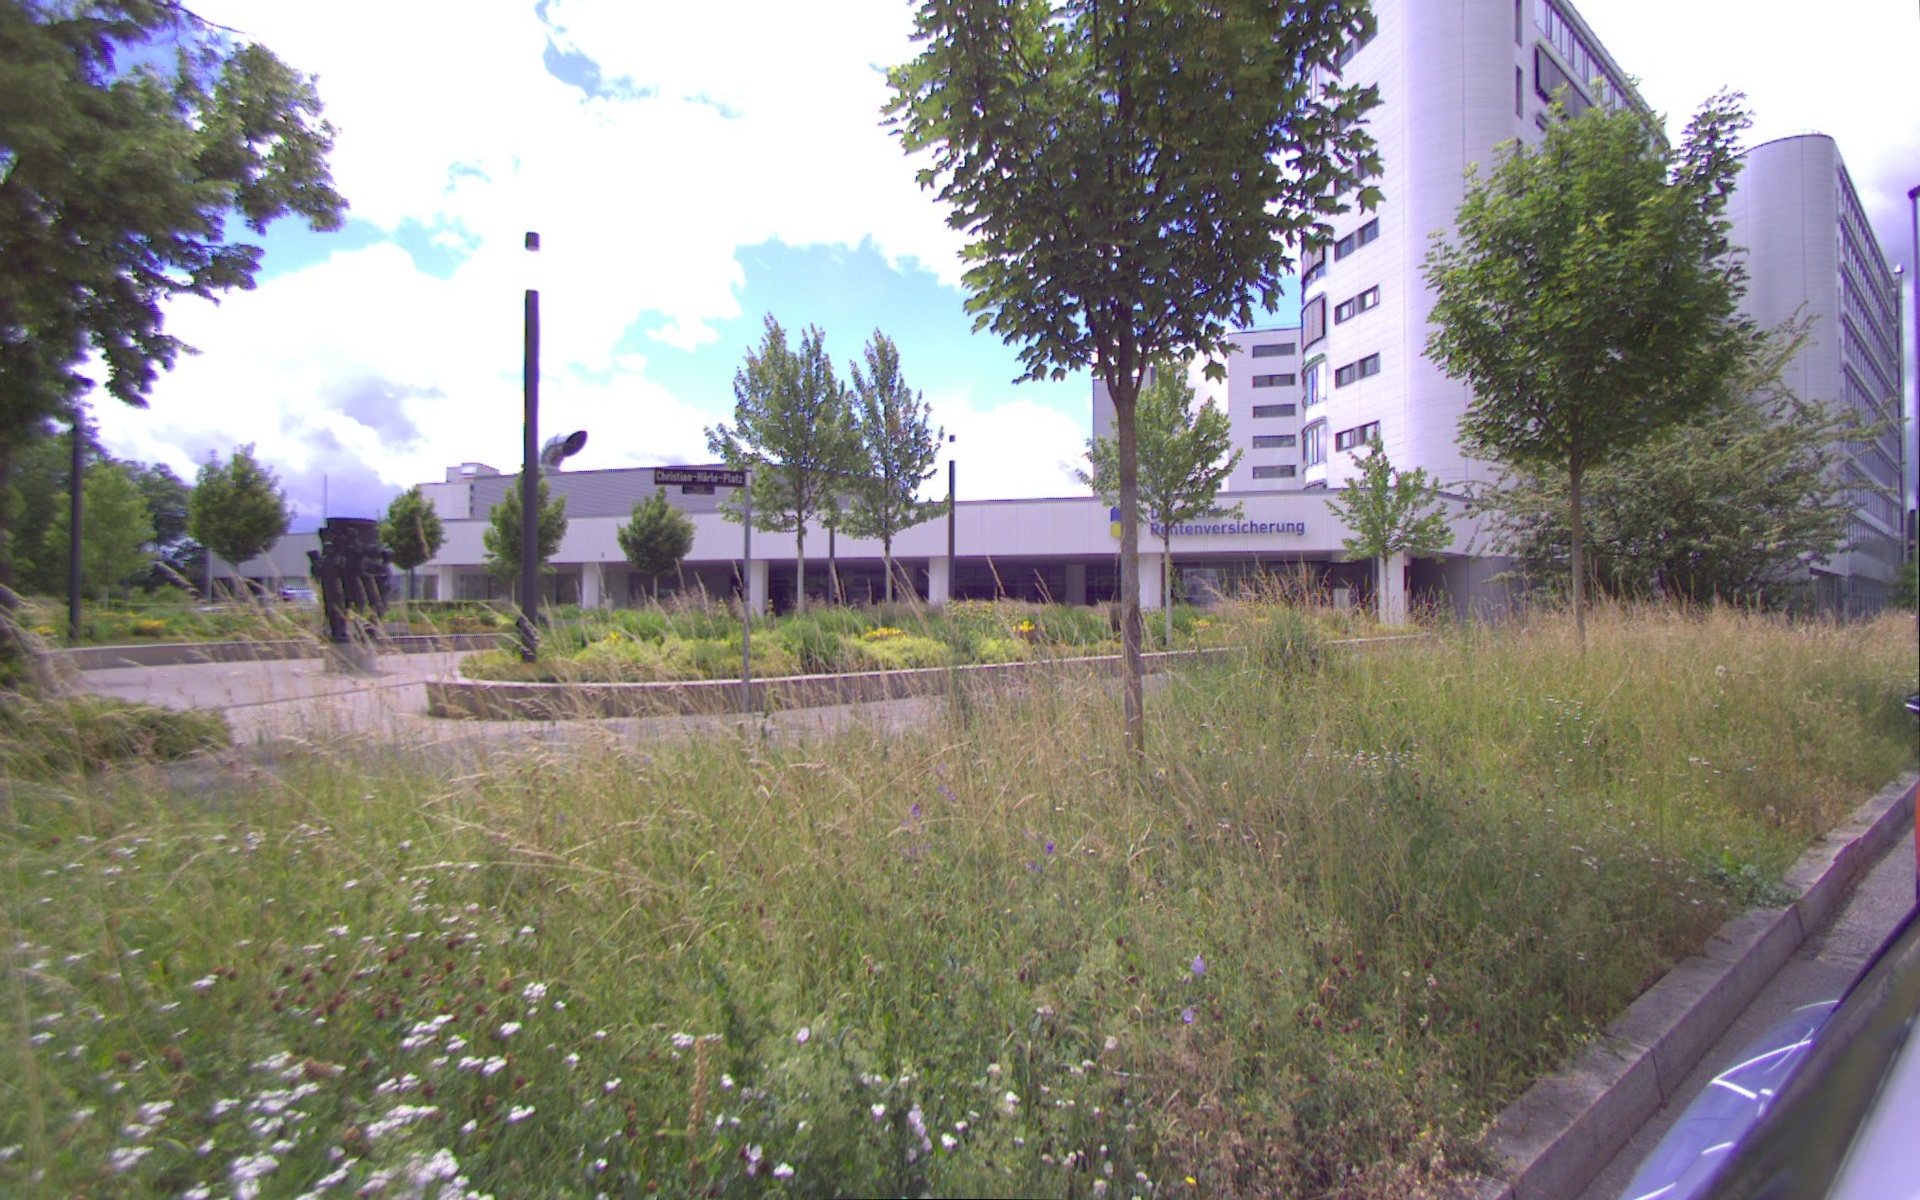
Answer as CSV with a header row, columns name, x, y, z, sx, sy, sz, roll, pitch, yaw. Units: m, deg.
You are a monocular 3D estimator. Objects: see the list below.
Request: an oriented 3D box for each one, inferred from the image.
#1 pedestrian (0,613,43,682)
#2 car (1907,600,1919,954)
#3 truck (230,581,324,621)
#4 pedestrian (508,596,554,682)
name,x,y,z,sx,sy,sz,roll,pitch,yaw
pedestrian,-17.408,0.862,18.687,0.621,1.238,0.620,1,0,-36
car,5.809,0.749,4.638,3.611,1.434,1.748,0,1,-41
truck,-36.143,0.066,53.574,3.941,2.039,1.991,1,0,14
pedestrian,-8.487,0.756,20.027,0.756,1.646,0.765,1,-1,-28
